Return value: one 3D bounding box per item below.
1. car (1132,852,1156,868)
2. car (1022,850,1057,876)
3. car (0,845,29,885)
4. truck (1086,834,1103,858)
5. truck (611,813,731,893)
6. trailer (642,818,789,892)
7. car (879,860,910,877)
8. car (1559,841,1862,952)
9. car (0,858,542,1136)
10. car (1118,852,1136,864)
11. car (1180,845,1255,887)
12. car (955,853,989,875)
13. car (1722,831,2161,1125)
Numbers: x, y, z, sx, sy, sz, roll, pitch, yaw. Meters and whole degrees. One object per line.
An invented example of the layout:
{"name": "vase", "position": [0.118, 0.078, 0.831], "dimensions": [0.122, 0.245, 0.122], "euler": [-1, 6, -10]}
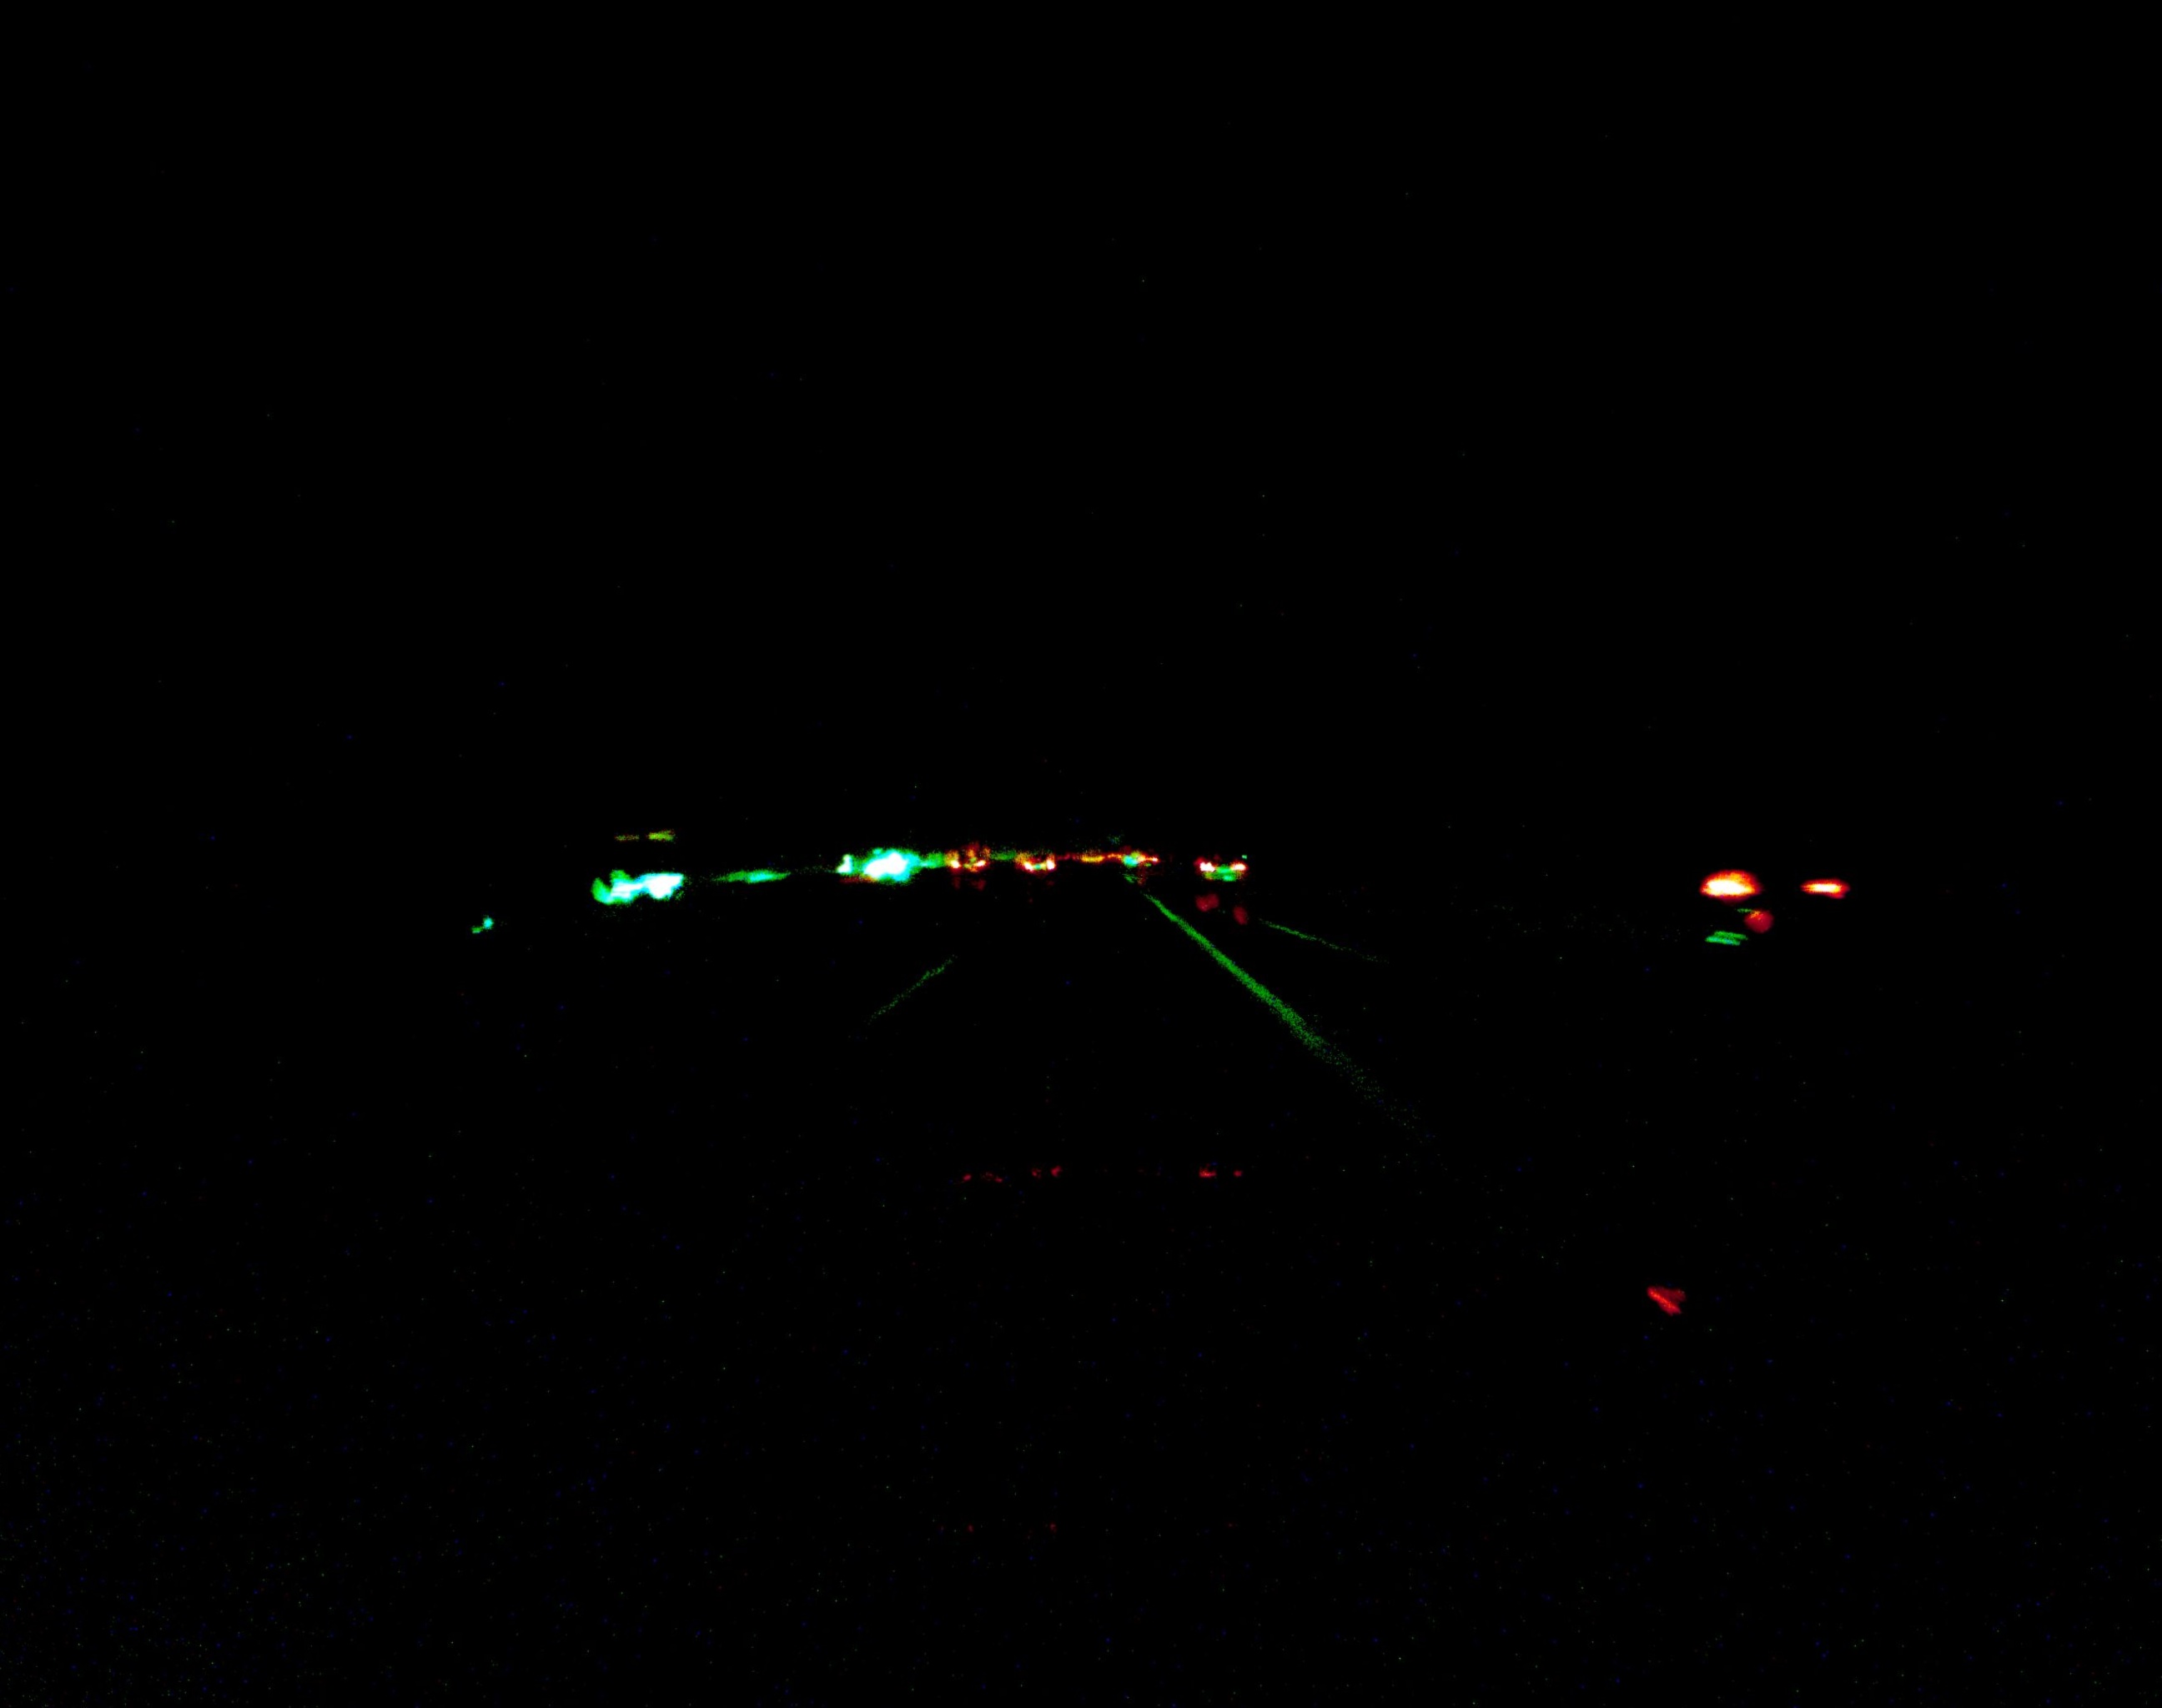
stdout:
{"name": "car", "position": [5.194, 0.454, 67.053], "dimensions": [1.577, 1.246, 3.065], "euler": [-1, 0, -3]}
{"name": "car", "position": [-2.452, 0.504, 48.842], "dimensions": [1.795, 1.487, 4.001], "euler": [-1, 0, 1]}
{"name": "car", "position": [-49.108, 0.482, 35.108], "dimensions": [1.777, 1.787, 4.278], "euler": [0, 0, 6]}
{"name": "truck", "position": [1.911, -1.119, 115.644], "dimensions": [1.986, 3.042, 6.468], "euler": [-5, -1, 2]}
{"name": "truck", "position": [-23.238, 0.039, 46.660], "dimensions": [2.803, 4.006, 7.349], "euler": [-5, -1, 1]}
{"name": "trailer", "position": [-23.197, 0.190, 53.065], "dimensions": [2.803, 3.998, 13.930], "euler": [-5, -1, 1]}
{"name": "car", "position": [-16.028, 1.245, 70.163], "dimensions": [1.608, 1.299, 3.703], "euler": [-5, -1, 2]}
{"name": "car", "position": [9.972, 0.578, 13.369], "dimensions": [1.716, 1.497, 4.039], "euler": [-1, 0, -3]}
{"name": "car", "position": [-7.022, 0.849, 6.716], "dimensions": [1.851, 1.540, 4.752], "euler": [-2, 0, 1]}
{"name": "car", "position": [4.937, 0.439, 87.406], "dimensions": [1.577, 1.246, 3.065], "euler": [-1, -1, -3]}
{"name": "car", "position": [5.278, 0.438, 32.280], "dimensions": [2.052, 1.519, 5.013], "euler": [-1, 0, -1]}
{"name": "car", "position": [-6.916, 0.666, 51.961], "dimensions": [1.657, 1.236, 3.760], "euler": [-5, -1, -1]}
{"name": "car", "position": [6.315, 0.594, 4.573], "dimensions": [1.988, 1.449, 4.334], "euler": [-1, 0, -1]}
